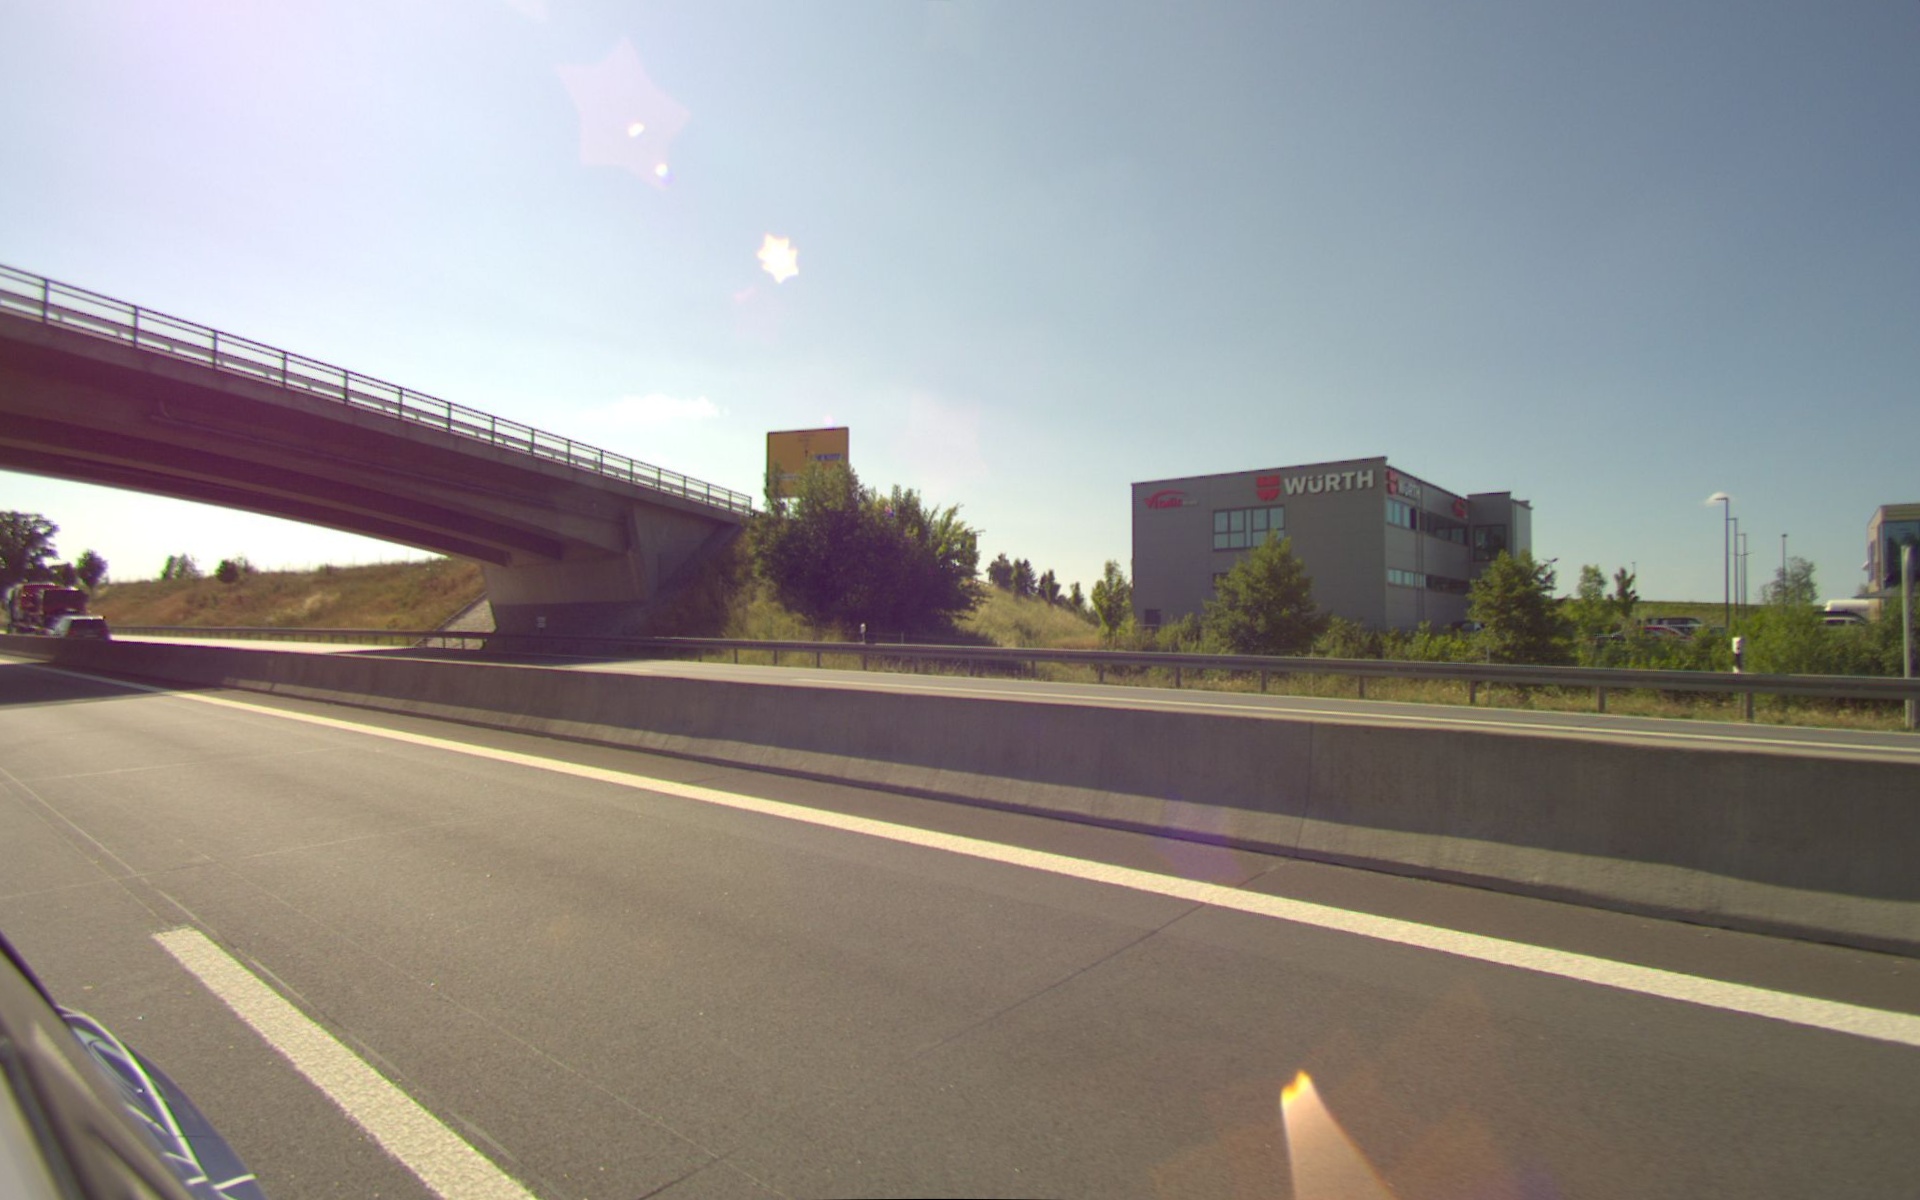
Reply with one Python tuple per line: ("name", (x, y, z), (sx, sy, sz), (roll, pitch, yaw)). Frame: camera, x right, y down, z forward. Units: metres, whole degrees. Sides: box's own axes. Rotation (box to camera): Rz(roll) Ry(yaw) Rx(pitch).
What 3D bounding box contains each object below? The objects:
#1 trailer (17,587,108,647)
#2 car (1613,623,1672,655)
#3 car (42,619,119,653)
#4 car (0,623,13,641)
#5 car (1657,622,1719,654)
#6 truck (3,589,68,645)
("trailer", (-60.203, 1.174, 67.710), (13.225, 3.685, 2.638), (-1, -1, 40))
("car", (36.885, 2.084, 54.773), (1.988, 1.608, 3.967), (-1, -1, 24))
("car", (-42.756, 1.709, 49.168), (4.922, 1.586, 2.049), (-1, -1, 40))
("car", (-86.470, 2.852, 90.591), (4.562, 1.542, 1.844), (-1, -1, 38))
("car", (39.507, 2.030, 55.048), (1.989, 1.608, 3.966), (-1, -1, 25))
("truck", (-67.206, 1.247, 73.567), (5.825, 3.861, 2.708), (-1, -1, 40))
